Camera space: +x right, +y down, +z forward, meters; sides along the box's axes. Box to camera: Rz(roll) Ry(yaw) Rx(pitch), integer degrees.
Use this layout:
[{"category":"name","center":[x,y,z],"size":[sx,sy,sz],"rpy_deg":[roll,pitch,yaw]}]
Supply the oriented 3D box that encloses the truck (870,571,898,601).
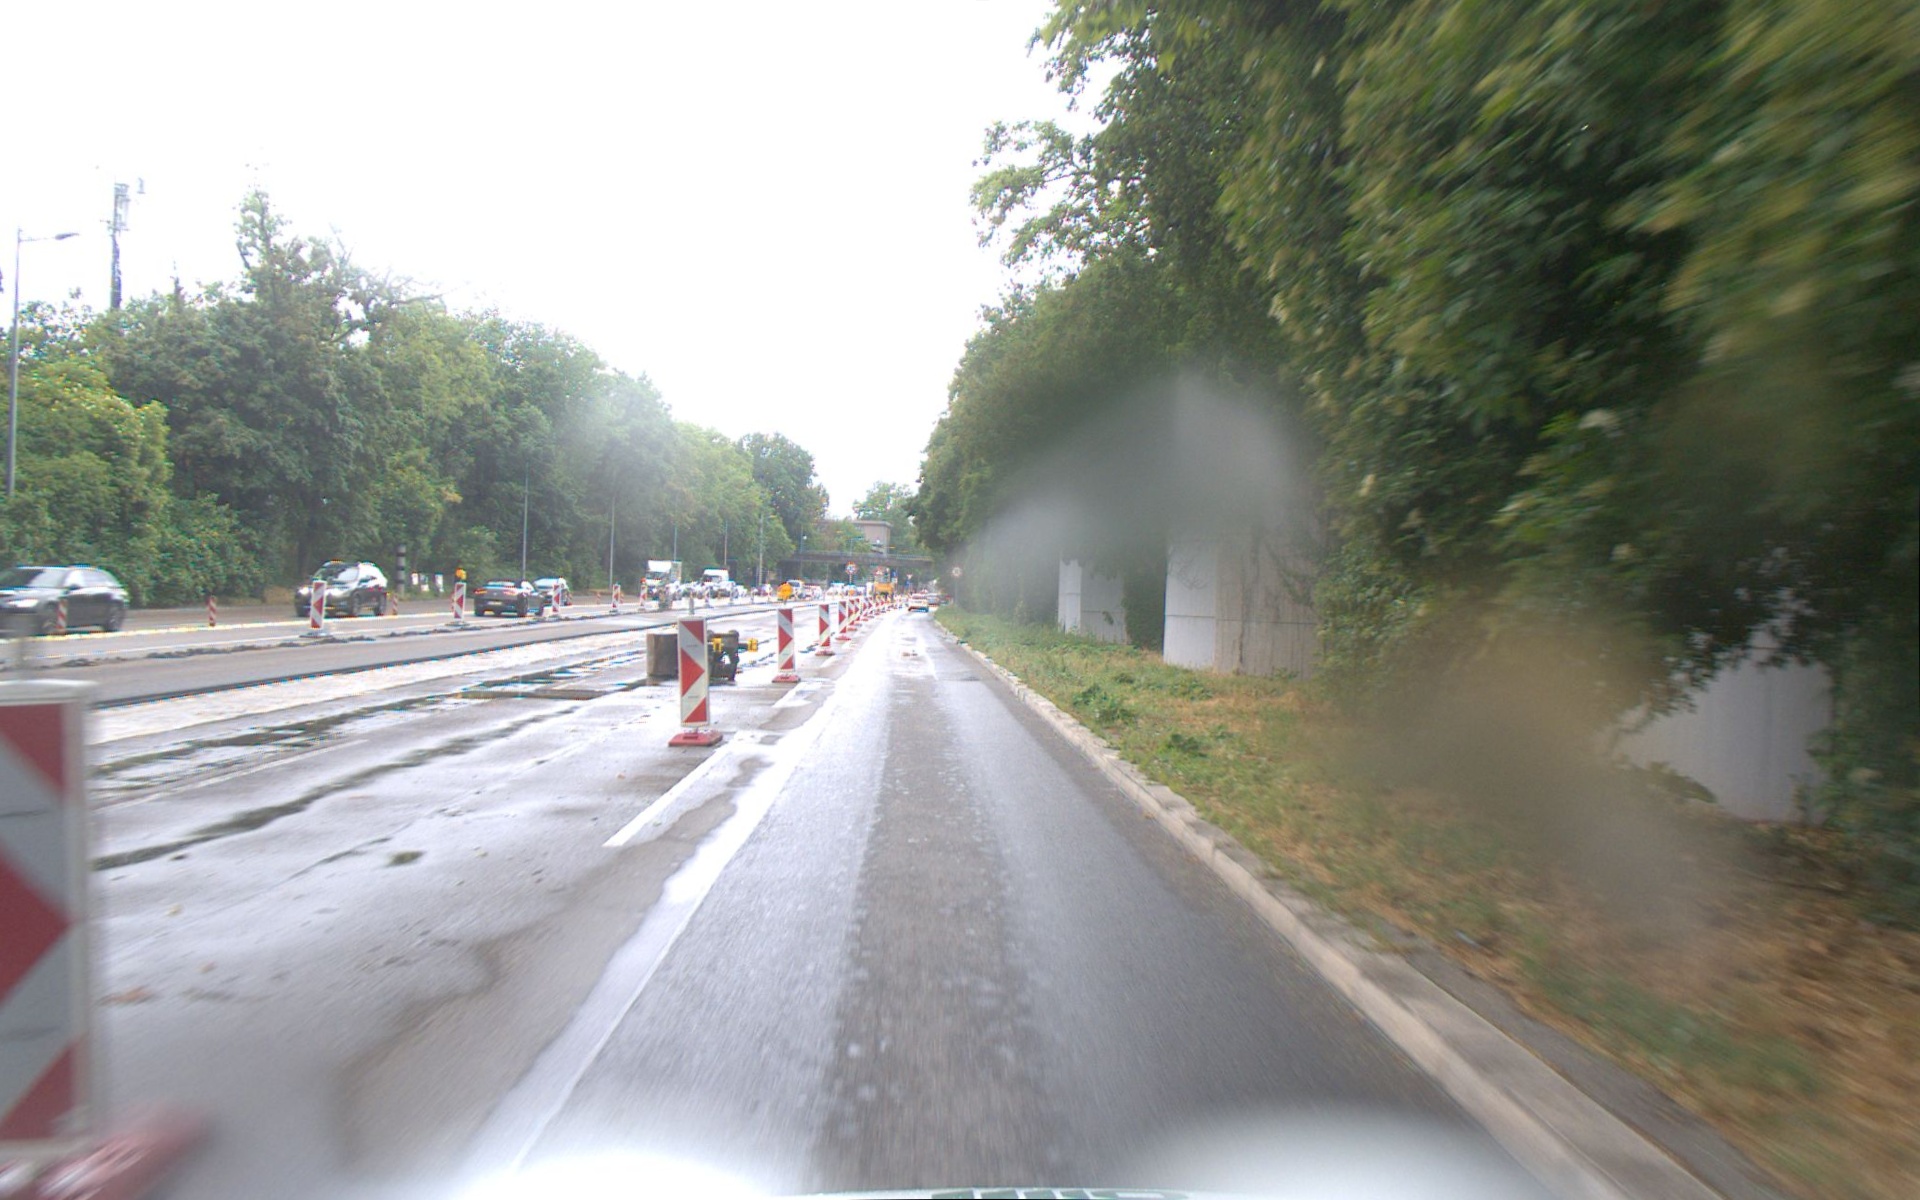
[{"category":"truck","center":[-9.468,-1.798,206.546],"size":[3.194,3.558,13.865],"rpy_deg":[1,1,-2]}]

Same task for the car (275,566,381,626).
[{"category":"car","center":[-19.712,-0.129,51.801],"size":[1.700,1.752,4.492],"rpy_deg":[1,0,-2]}]

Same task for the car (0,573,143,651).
[{"category":"car","center":[-19.100,0.203,34.628],"size":[1.725,1.509,4.898],"rpy_deg":[1,0,-3]}]

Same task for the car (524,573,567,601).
[{"category":"car","center":[-21.203,-0.651,84.690],"size":[1.419,1.355,3.858],"rpy_deg":[1,0,-4]}]

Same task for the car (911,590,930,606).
[{"category":"car","center":[-3.385,-0.195,141.705],"size":[1.663,1.359,3.490],"rpy_deg":[-1,0,-2]}]

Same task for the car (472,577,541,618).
[{"category":"car","center":[-16.854,-0.122,61.638],"size":[1.575,1.429,4.039],"rpy_deg":[1,0,-3]}]

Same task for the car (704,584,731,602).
[{"category":"car","center":[-22.221,-0.637,151.737],"size":[1.920,1.557,4.436],"rpy_deg":[2,0,-1]}]

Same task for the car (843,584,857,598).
[{"category":"car","center":[-15.224,-1.221,228.673],"size":[1.636,1.840,4.320],"rpy_deg":[2,2,-1]}]

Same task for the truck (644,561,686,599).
[{"category":"truck","center":[-24.223,-1.600,136.033],"size":[2.200,2.991,6.934],"rpy_deg":[1,0,-1]}]

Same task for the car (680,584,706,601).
[{"category":"car","center":[-24.427,-0.692,151.406],"size":[1.636,1.511,4.319],"rpy_deg":[2,0,-1]}]
